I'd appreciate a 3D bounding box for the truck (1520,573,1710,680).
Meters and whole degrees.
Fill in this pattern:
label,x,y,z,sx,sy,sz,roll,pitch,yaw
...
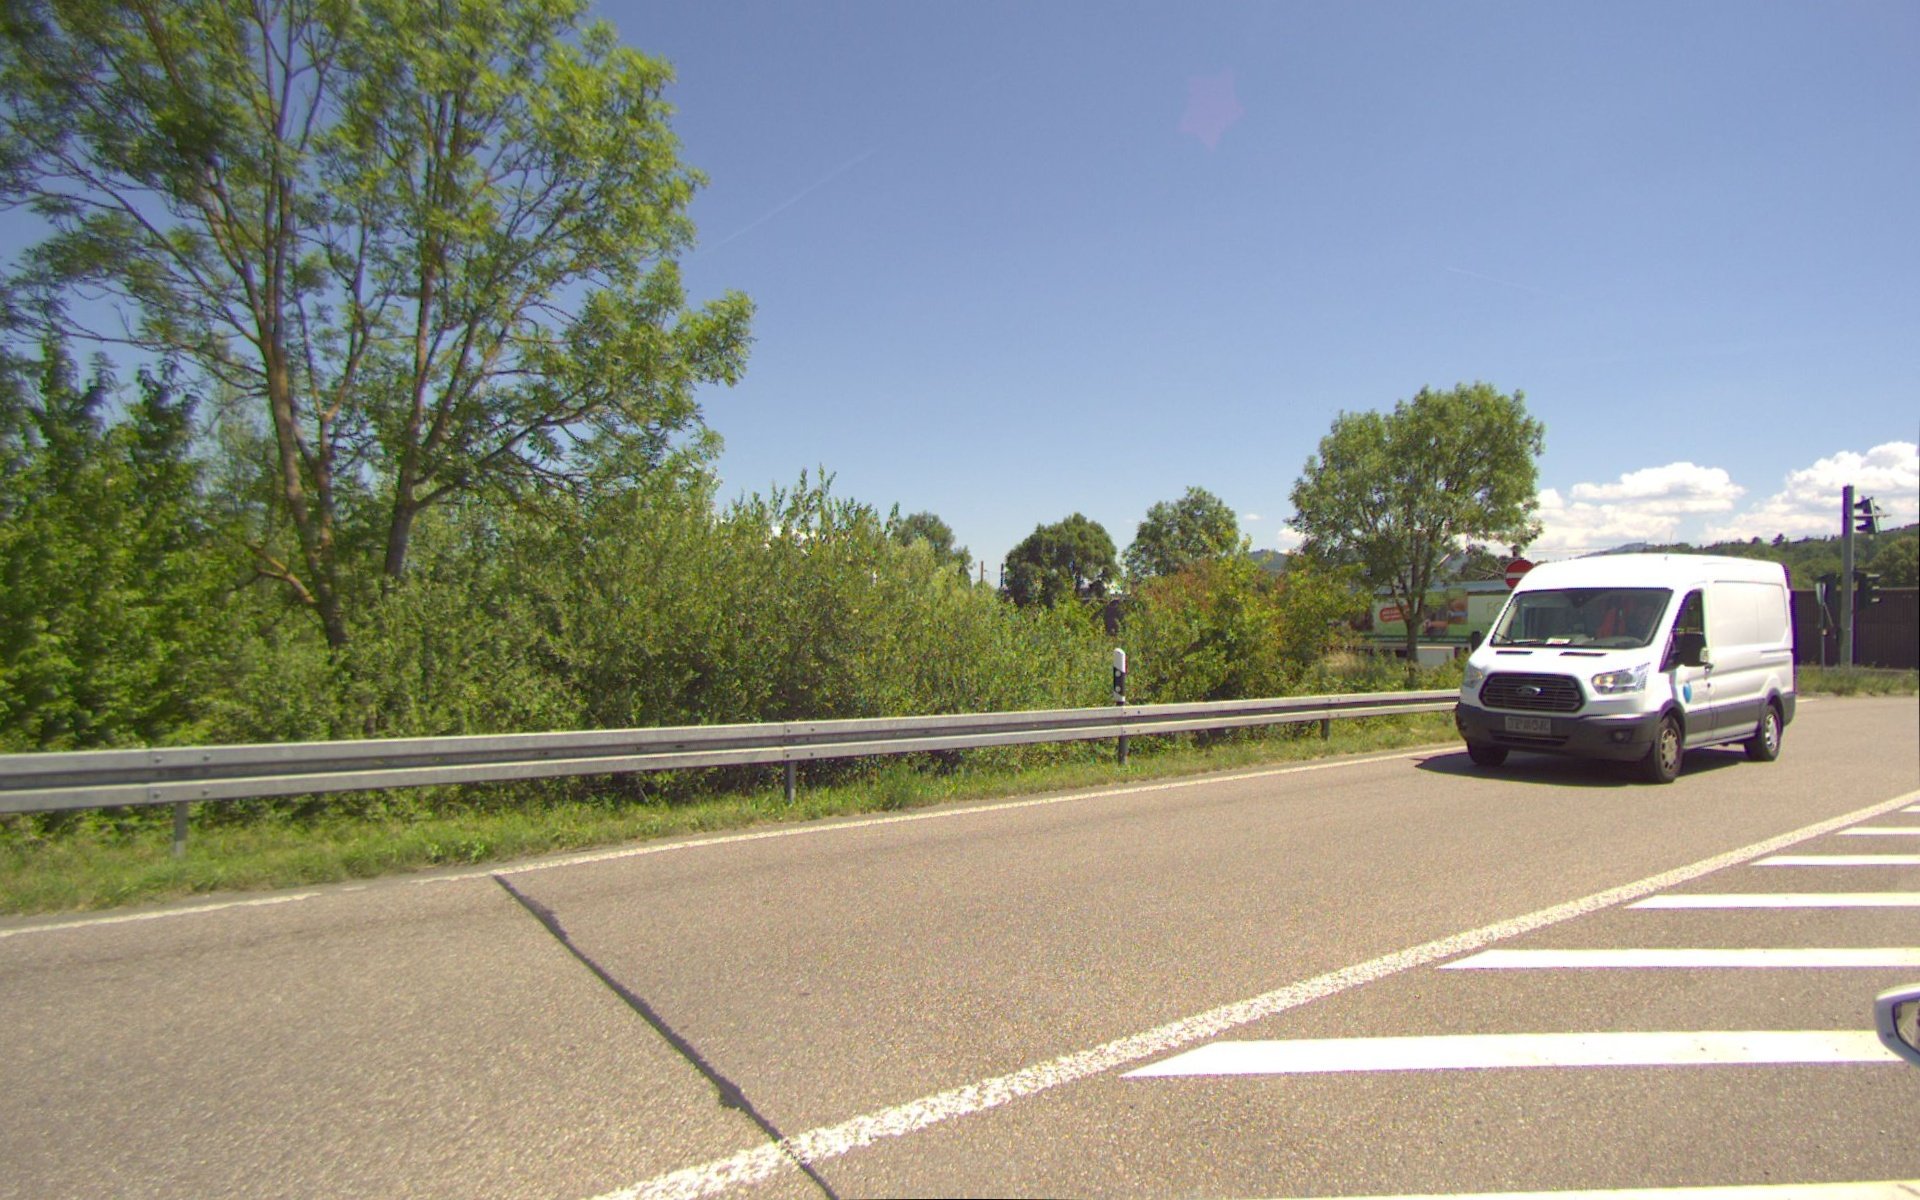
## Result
label,x,y,z,sx,sy,sz,roll,pitch,yaw
truck,26.524,1.034,40.920,3.027,4.007,5.736,2,-1,-31

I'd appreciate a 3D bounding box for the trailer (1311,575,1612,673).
label,x,y,z,sx,sy,sz,roll,pitch,yaw
trailer,22.822,1.037,47.164,3.027,4.007,13.074,2,-1,-31

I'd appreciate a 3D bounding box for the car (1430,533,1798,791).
label,x,y,z,sx,sy,sz,roll,pitch,yaw
car,8.014,0.698,12.058,5.539,2.448,1.979,2,-3,-38
